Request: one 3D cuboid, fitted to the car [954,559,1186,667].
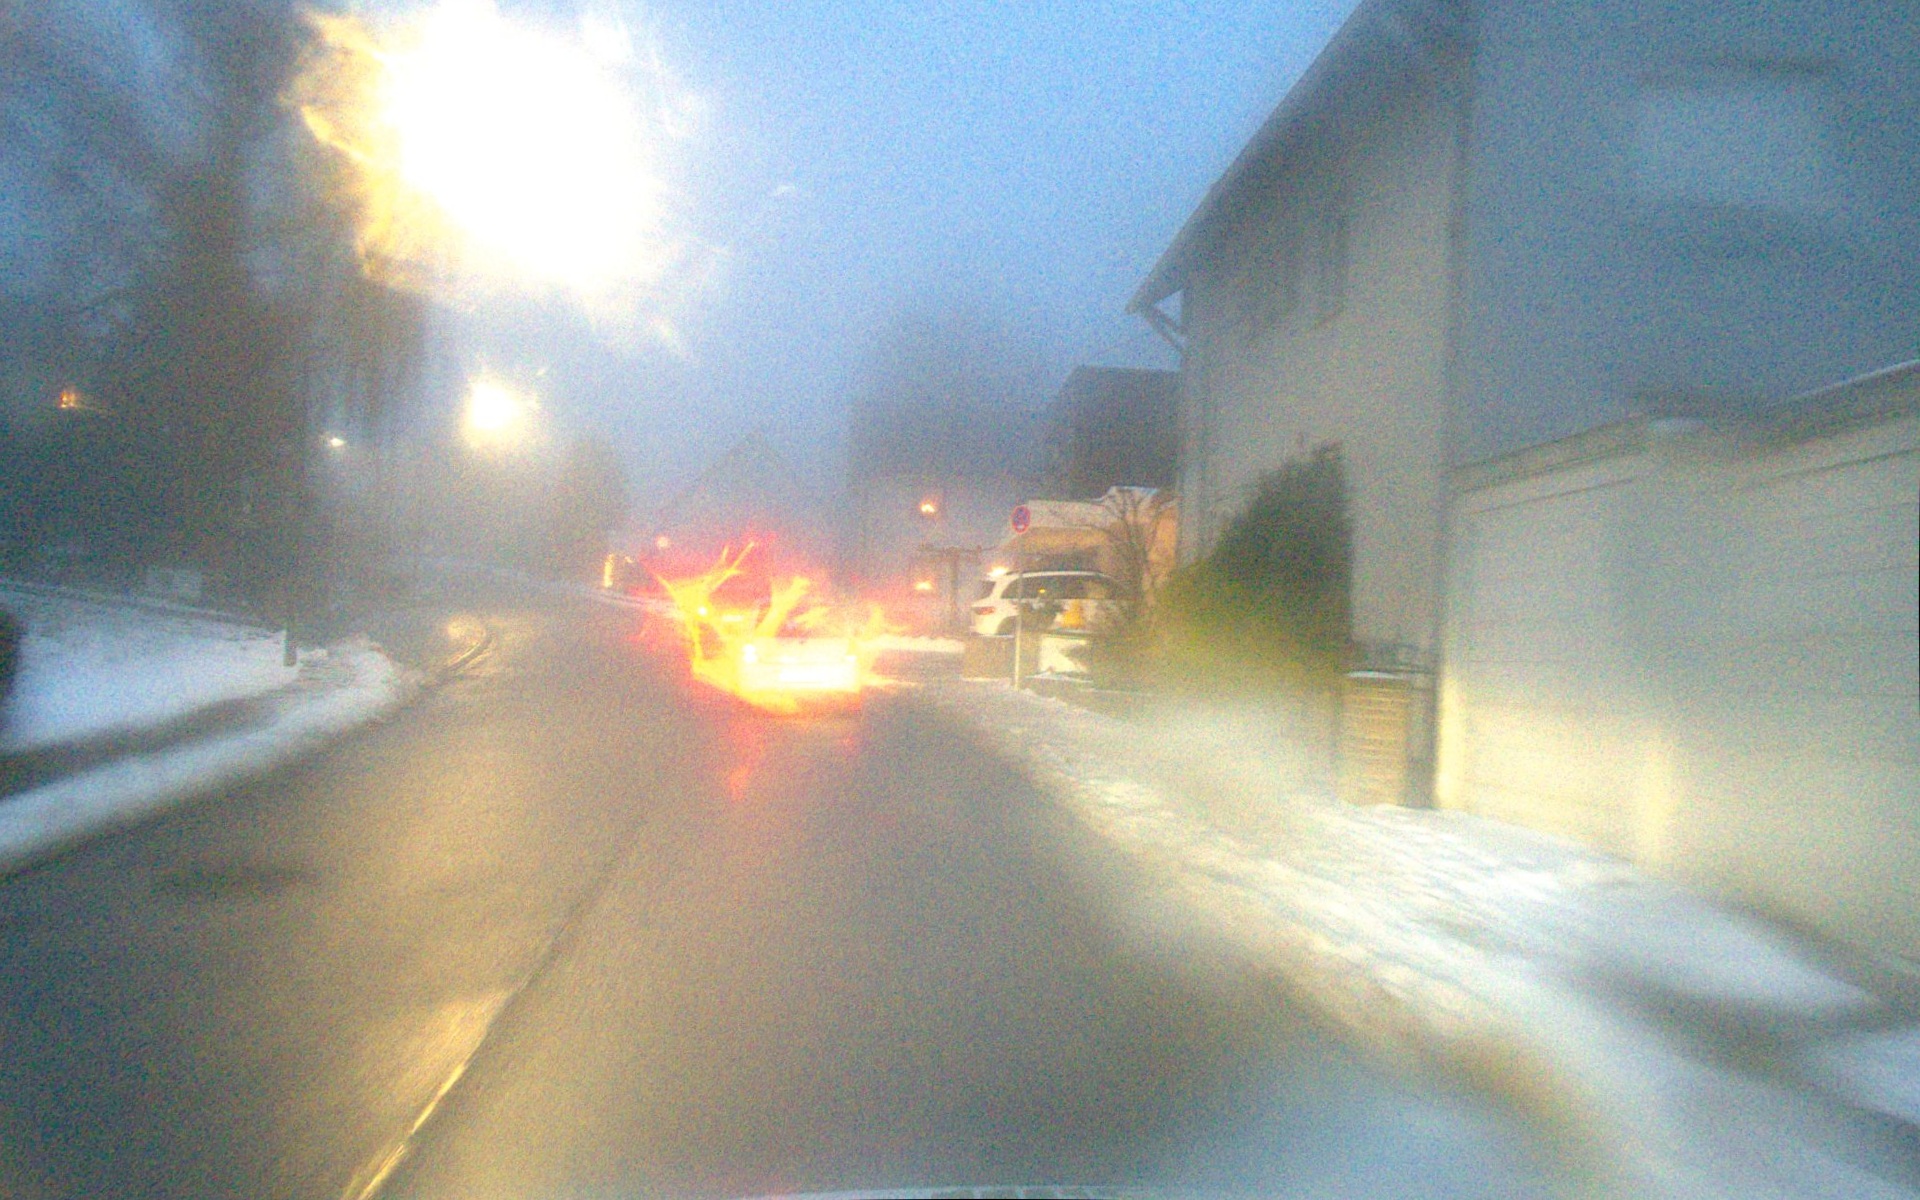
[{"bbox_3d":[2.014,0.244,31.103,4.122,1.891,1.910,1,0,-4],"label":"car"}]

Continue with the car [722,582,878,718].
[{"bbox_3d":[-2.166,0.619,22.120,1.861,1.637,3.994,1,0,-7],"label":"car"}]

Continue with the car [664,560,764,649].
[{"bbox_3d":[-5.200,0.094,35.429,1.955,1.767,3.873,1,0,-7],"label":"car"}]
